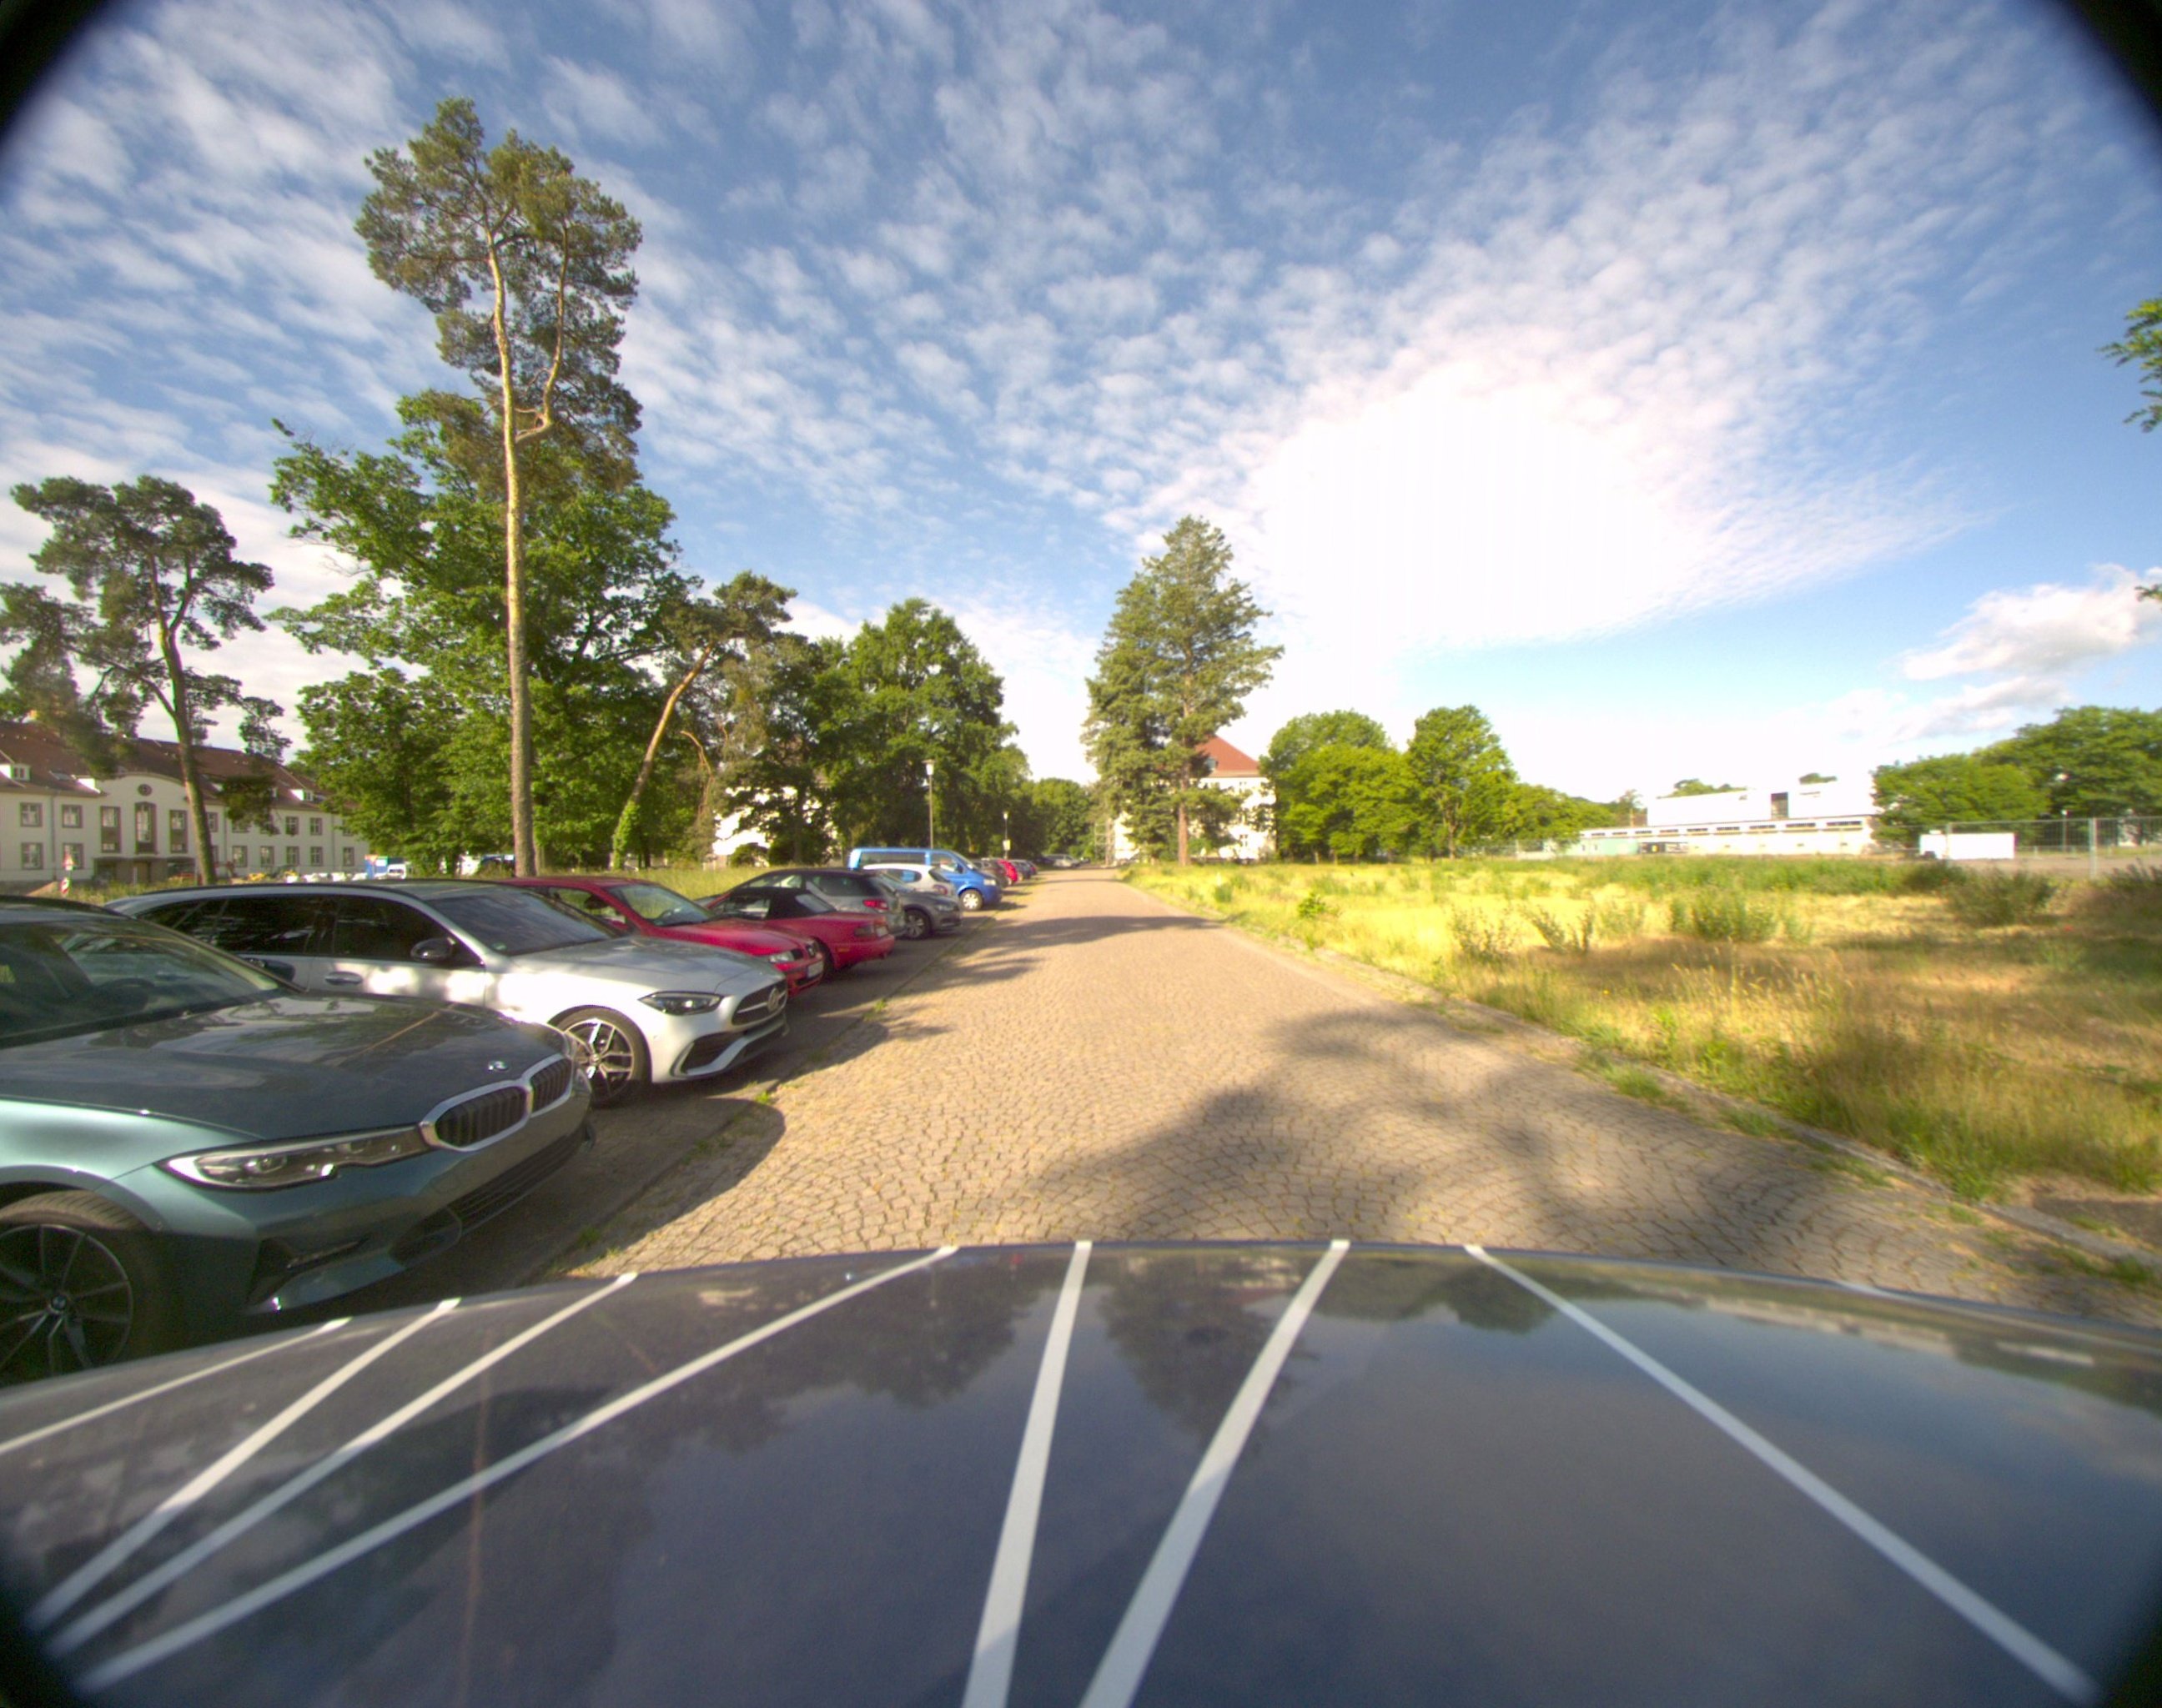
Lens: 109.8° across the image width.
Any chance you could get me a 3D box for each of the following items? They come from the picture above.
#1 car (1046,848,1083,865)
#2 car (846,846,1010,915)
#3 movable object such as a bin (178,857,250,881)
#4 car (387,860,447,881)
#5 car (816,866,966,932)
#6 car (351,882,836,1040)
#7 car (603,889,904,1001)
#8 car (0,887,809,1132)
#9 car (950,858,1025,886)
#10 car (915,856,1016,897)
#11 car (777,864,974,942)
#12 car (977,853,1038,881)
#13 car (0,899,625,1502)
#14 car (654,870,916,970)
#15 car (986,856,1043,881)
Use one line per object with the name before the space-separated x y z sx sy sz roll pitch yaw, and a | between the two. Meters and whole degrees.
car | -2.317 0.366 106.956 5.068 2.251 2.000 -1 1 -1
car | -4.719 0.798 23.996 4.726 2.002 2.000 -1 1 1
movable object such as a bin | -91.433 1.544 80.206 1.999 2.309 4.985 -1 0 -4
car | -69.335 1.668 79.493 1.998 2.002 4.772 -1 0 0
car | -4.578 1.074 18.614 3.264 1.482 1.449 -1 1 2
car | -4.754 1.018 7.850 3.918 1.385 1.660 0 1 -1
car | -4.220 1.157 10.137 3.357 1.248 1.419 -1 1 -1
car | -4.532 0.998 5.565 4.423 1.394 1.826 0 0 -2
car | -5.291 1.009 43.252 3.996 1.509 1.757 -1 1 2
car | -4.954 0.963 32.932 3.996 1.630 1.757 -1 1 2
car | -4.205 0.984 15.764 3.621 1.482 1.509 -1 1 9
car | -5.117 0.909 53.477 3.996 1.731 1.757 -3 0 2
car | -4.537 0.986 2.836 4.507 1.508 1.825 0 0 -4
car | -4.860 1.057 12.831 3.779 1.482 1.549 -1 1 -1
car | -5.044 1.092 58.166 3.996 1.605 1.757 -4 1 4
